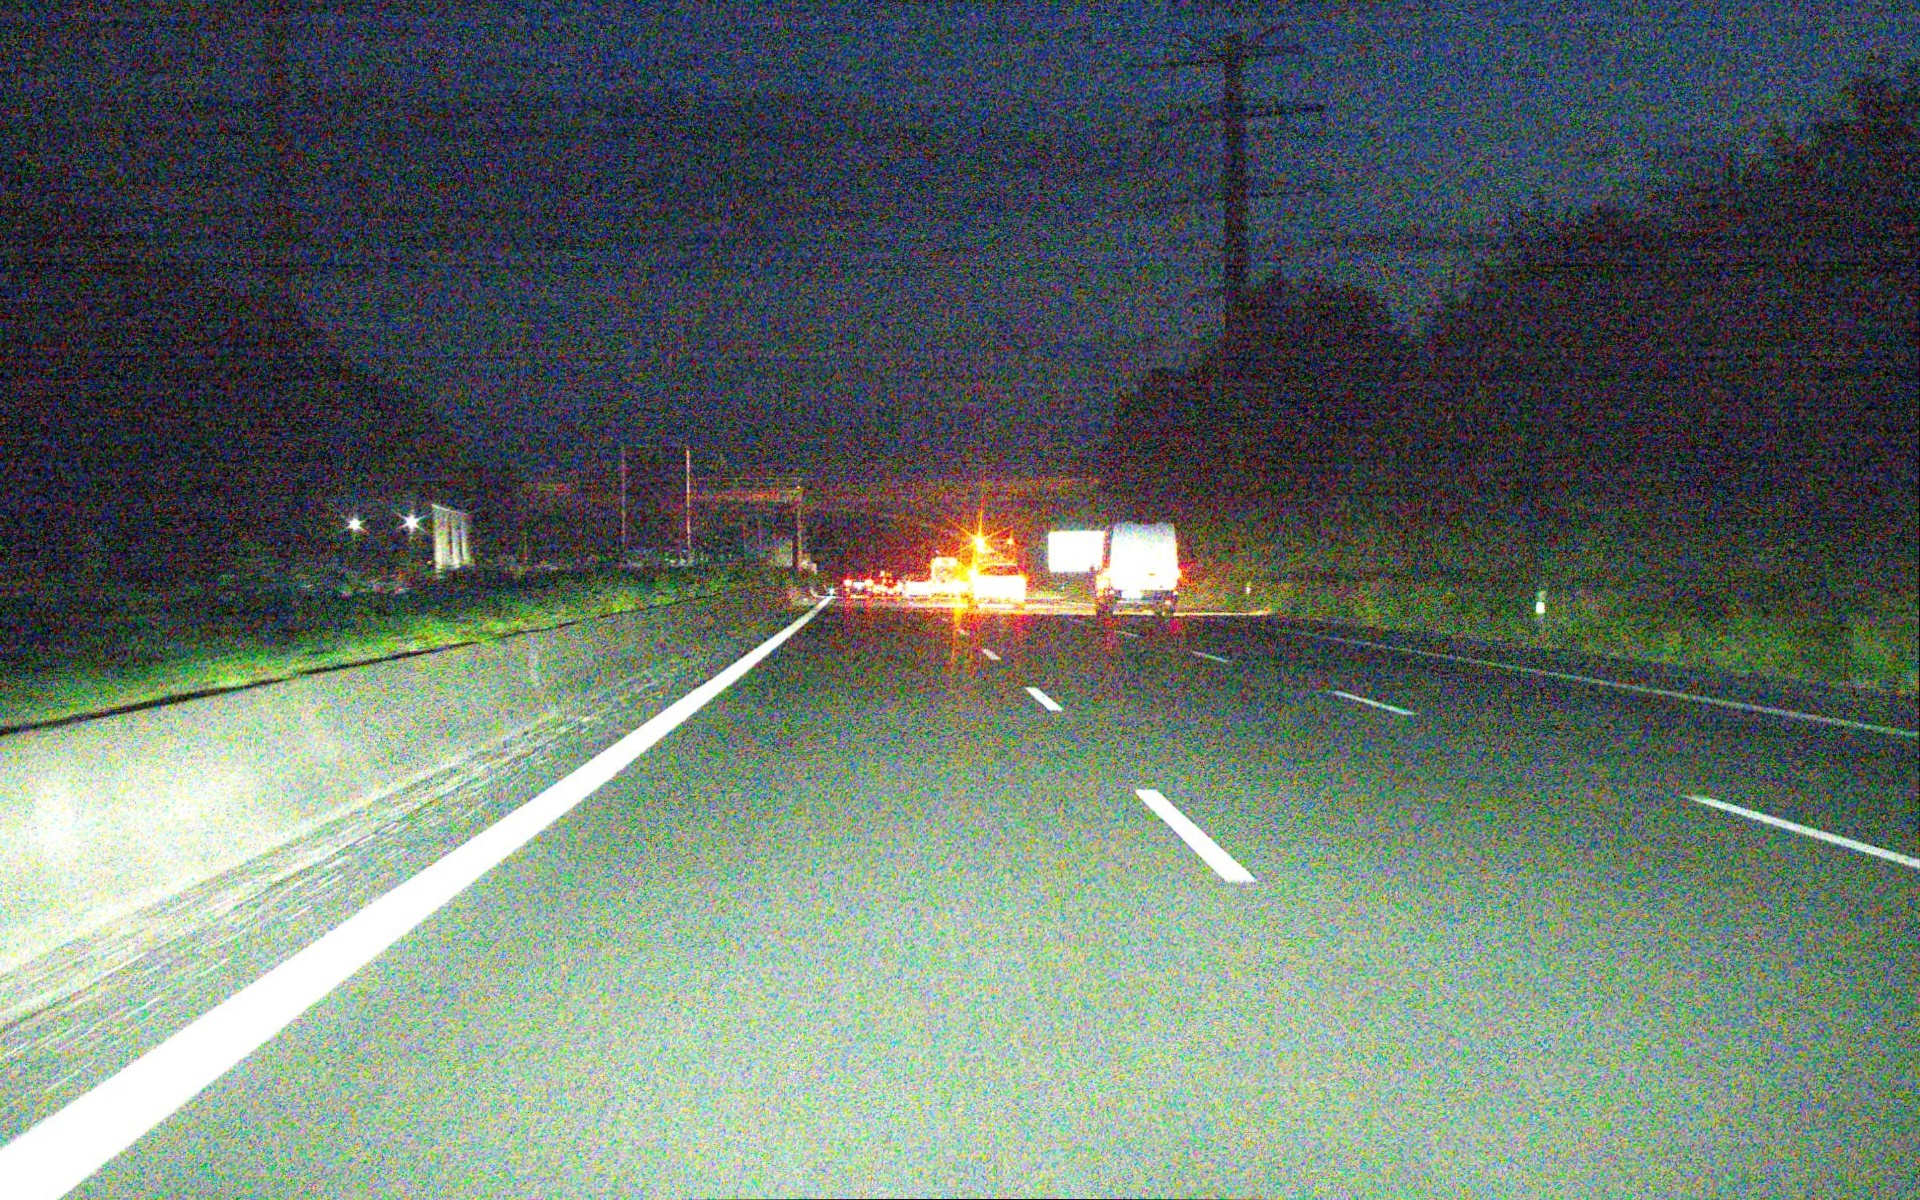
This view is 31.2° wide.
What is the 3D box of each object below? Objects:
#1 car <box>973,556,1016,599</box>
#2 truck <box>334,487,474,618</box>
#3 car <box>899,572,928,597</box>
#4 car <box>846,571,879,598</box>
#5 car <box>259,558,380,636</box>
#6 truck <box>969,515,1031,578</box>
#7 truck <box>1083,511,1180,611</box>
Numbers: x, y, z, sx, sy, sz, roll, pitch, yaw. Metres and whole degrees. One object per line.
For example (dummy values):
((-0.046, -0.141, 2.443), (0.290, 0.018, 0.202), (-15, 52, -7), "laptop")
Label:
((1.164, -0.786, 117.379), (1.346, 1.382, 3.502), (1, 1, -1), "car")
((-19.429, -1.745, 121.174), (3.113, 4.188, 16.982), (-2, 1, -4), "truck")
((-2.991, -1.006, 221.737), (1.821, 1.461, 4.248), (1, 1, -1), "car")
((-5.677, -0.933, 199.889), (1.821, 1.461, 4.248), (1, 1, -1), "car")
((-13.465, -0.098, 72.528), (1.750, 1.473, 4.753), (-2, 1, -2), "car")
((2.133, -2.964, 188.657), (3.044, 3.313, 10.143), (1, 1, -1), "truck")
((4.944, -1.075, 100.046), (2.076, 2.682, 7.308), (1, -1, -3), "truck")
